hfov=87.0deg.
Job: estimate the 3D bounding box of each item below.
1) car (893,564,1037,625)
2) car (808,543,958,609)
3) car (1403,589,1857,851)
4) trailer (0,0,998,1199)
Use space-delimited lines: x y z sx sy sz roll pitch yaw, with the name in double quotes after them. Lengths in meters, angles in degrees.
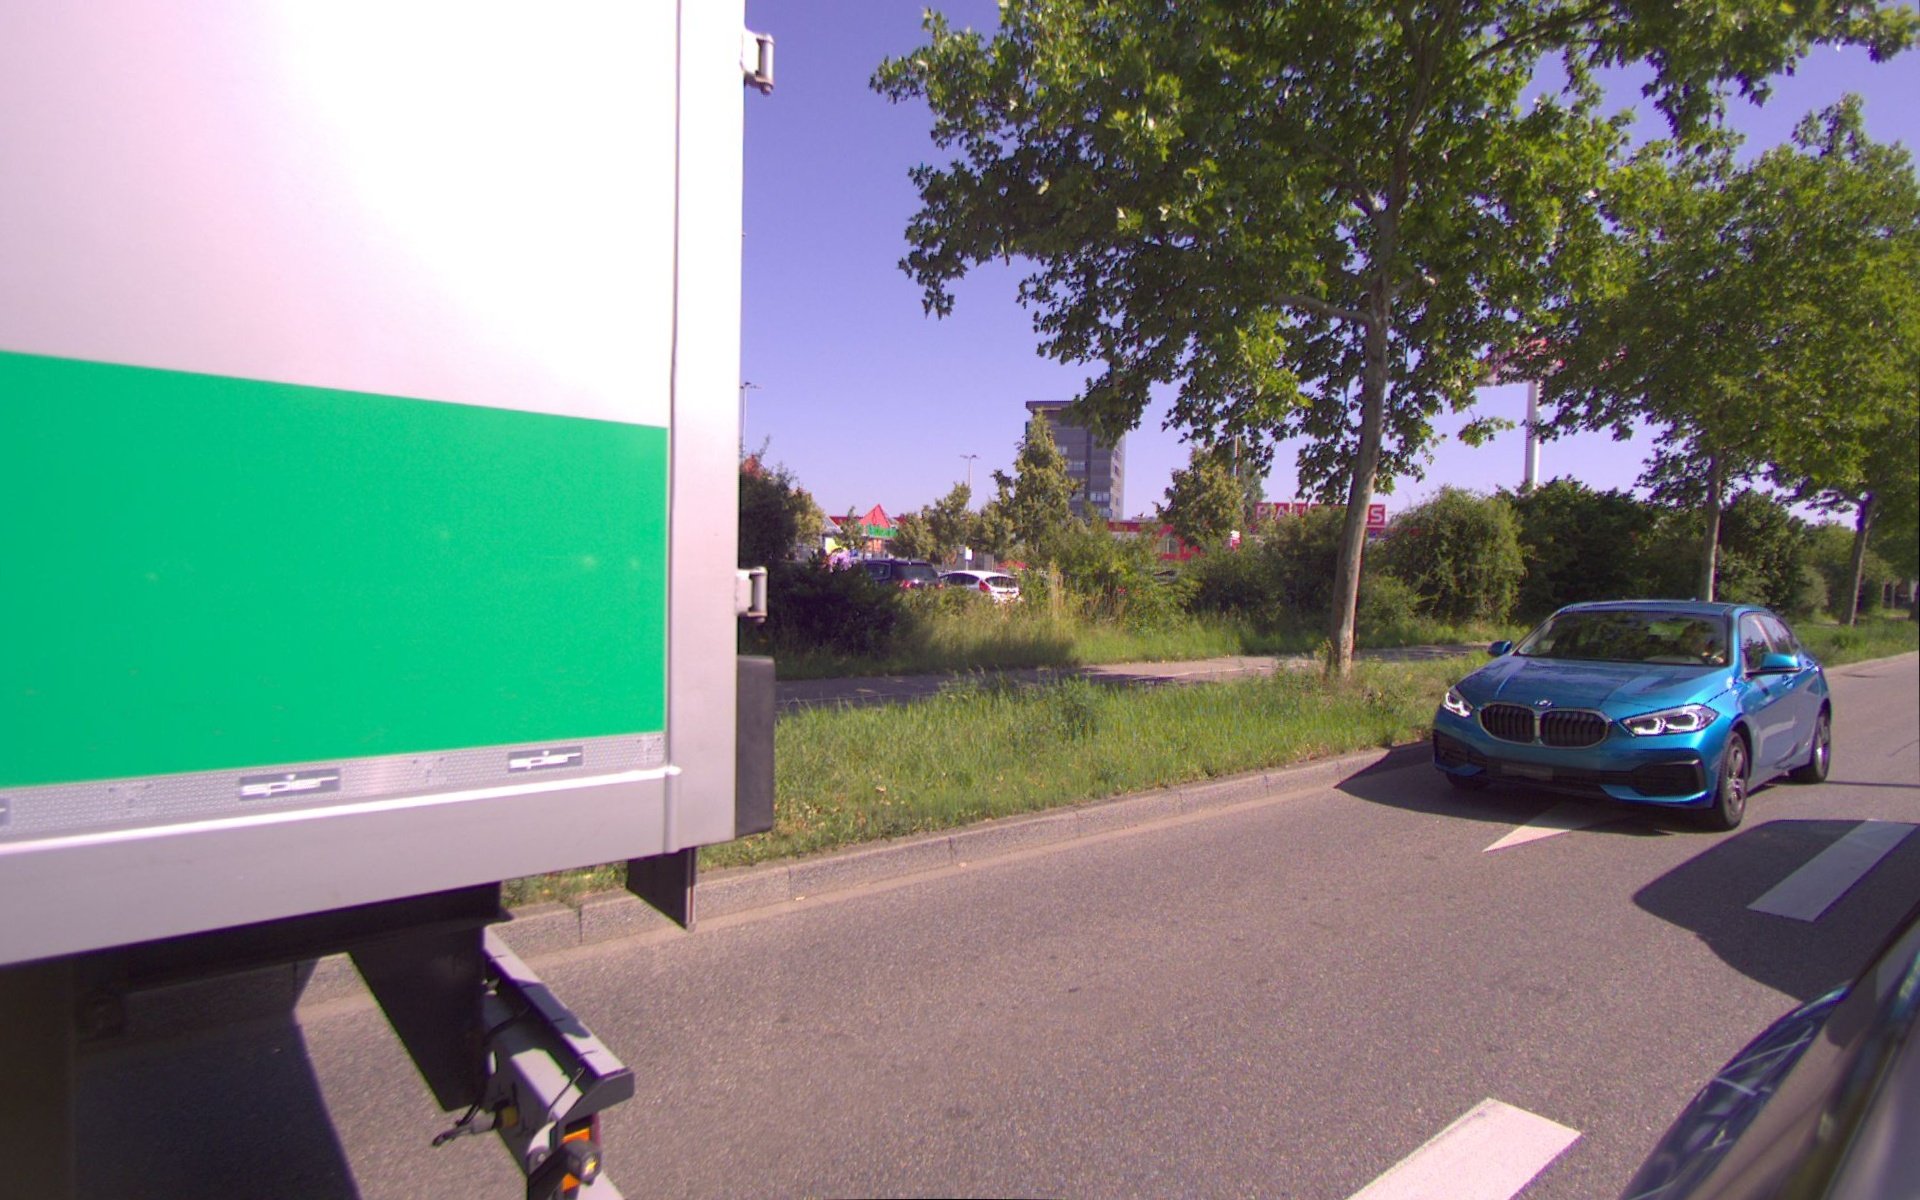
0.078 -0.174 28.870 1.850 1.611 4.075 -1 1 -43 "car"
-2.115 -0.603 26.921 1.850 1.611 4.075 -1 1 -43 "car"
5.282 0.660 7.769 4.058 1.437 1.871 0 2 -41 "car"
-3.741 -0.640 0.289 7.596 3.924 2.743 -1 2 -39 "trailer"
